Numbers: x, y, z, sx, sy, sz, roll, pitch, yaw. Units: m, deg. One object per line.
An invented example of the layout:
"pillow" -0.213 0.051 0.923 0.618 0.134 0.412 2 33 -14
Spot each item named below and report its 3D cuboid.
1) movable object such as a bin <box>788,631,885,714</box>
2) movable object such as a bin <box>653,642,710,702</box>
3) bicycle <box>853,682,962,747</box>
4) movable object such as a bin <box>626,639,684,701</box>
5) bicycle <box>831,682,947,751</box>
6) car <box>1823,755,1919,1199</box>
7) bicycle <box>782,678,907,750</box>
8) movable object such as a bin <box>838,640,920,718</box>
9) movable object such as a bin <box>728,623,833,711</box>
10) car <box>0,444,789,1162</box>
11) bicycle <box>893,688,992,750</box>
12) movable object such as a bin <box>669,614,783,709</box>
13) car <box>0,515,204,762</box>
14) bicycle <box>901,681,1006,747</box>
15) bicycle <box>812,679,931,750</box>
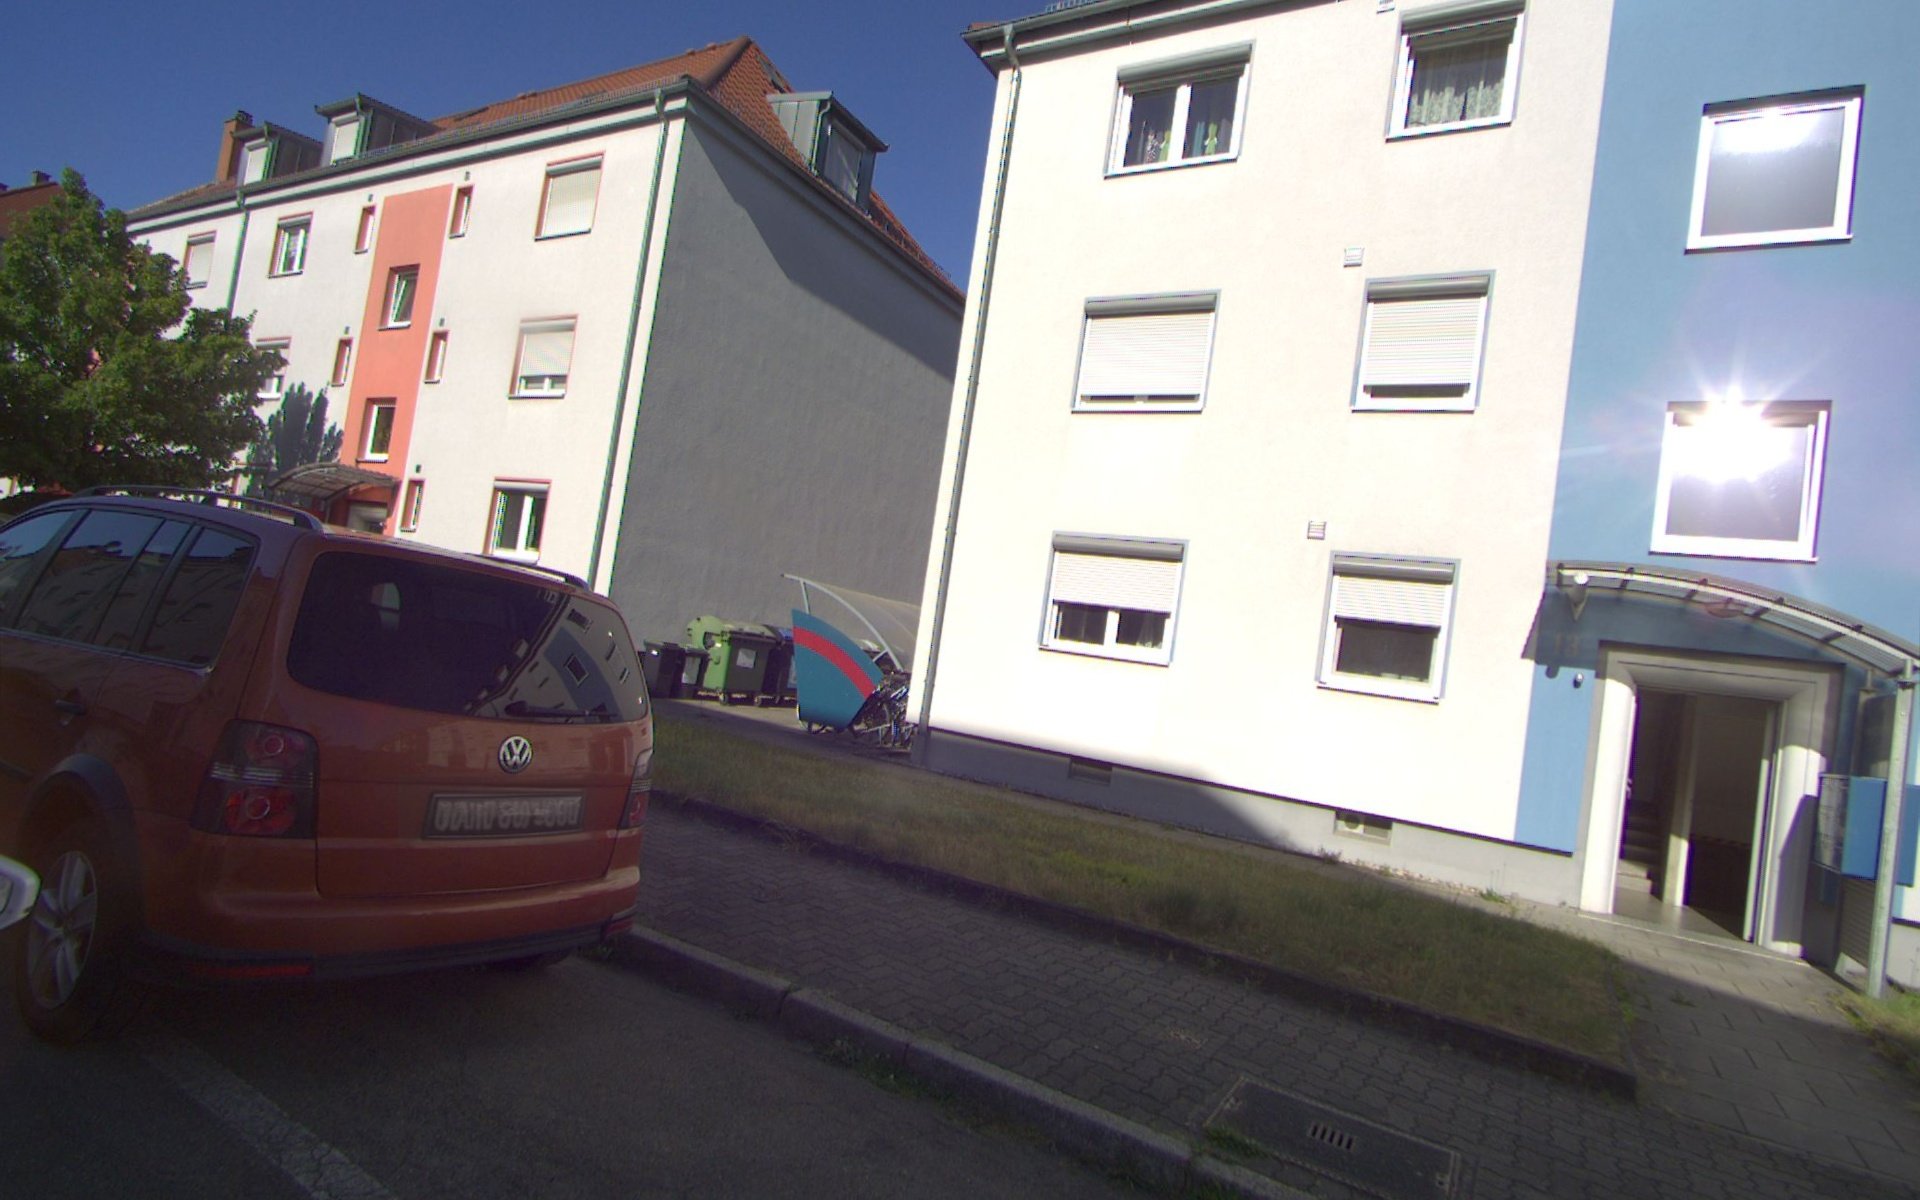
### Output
"movable object such as a bin" -2.477 1.475 20.254 1.168 1.431 1.364 7 -3 31
"movable object such as a bin" -4.697 1.215 16.952 0.622 0.896 0.524 7 -3 32
"bicycle" -0.843 1.807 15.955 1.682 0.767 0.454 7 -2 32
"movable object such as a bin" -4.994 1.154 16.483 0.622 0.896 0.524 7 -3 32
"bicycle" -1.101 1.774 15.427 1.758 0.767 0.454 7 -2 32
"car" 3.481 1.268 0.522 4.324 1.612 1.718 7 -5 31
"bicycle" -1.693 1.645 14.608 1.838 0.748 0.454 7 -2 32
"movable object such as a bin" -1.719 1.693 21.501 1.168 1.431 1.068 7 -3 31
"movable object such as a bin" -3.384 1.282 19.022 1.168 1.431 1.364 7 -3 31
"car" -3.009 0.452 4.267 4.058 1.683 1.870 7 -6 31
"bicycle" -0.300 1.932 16.415 1.532 0.767 0.454 7 -2 32
"movable object such as a bin" -4.111 1.092 17.731 1.168 1.431 1.364 7 -3 31
"car" -7.457 0.051 7.251 3.775 1.474 1.625 7 -6 29
"bicycle" -0.122 1.900 16.884 1.693 0.833 0.454 7 -2 32
"bicycle" -1.330 1.687 14.940 1.751 0.776 0.454 7 -2 32
